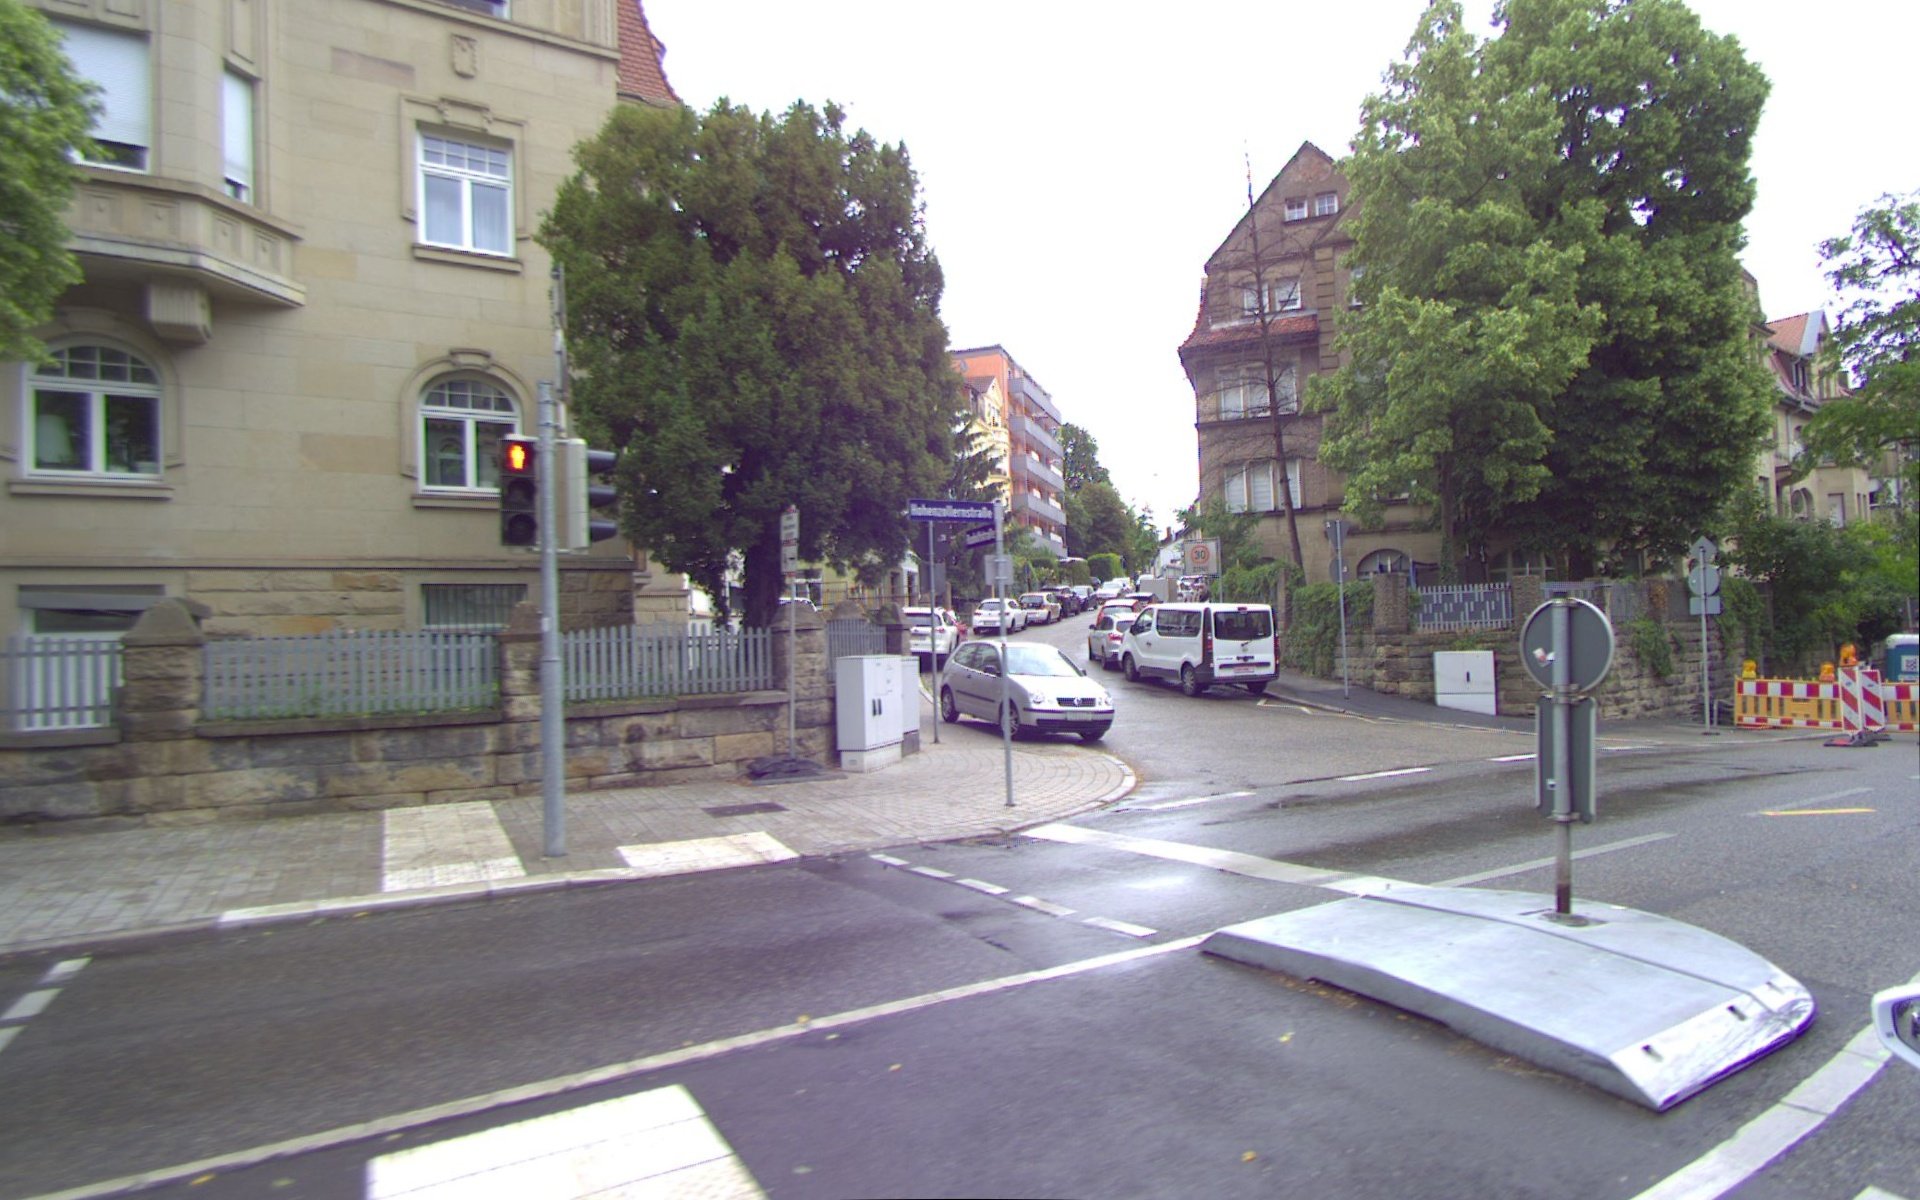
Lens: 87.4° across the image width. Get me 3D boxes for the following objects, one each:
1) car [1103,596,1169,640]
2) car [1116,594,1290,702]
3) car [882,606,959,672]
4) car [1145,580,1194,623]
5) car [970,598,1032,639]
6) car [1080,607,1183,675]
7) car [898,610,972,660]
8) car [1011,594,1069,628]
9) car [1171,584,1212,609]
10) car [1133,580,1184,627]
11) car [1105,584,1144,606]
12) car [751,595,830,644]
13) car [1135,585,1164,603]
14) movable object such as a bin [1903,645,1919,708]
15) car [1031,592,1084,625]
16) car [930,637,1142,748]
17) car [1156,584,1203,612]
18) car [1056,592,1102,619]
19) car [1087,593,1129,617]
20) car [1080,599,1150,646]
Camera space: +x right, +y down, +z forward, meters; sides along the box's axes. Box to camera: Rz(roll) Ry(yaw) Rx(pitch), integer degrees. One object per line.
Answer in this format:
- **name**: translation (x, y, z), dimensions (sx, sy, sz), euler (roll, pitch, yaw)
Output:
- **car**: translation (7.500, 0.739, 42.559), dimensions (2.071, 1.649, 4.444), euler (3, 0, 18)
- **car**: translation (5.527, 0.996, 23.566), dimensions (1.991, 2.076, 4.662), euler (0, 3, -15)
- **car**: translation (-1.072, 1.103, 29.439), dimensions (1.882, 1.697, 4.159), euler (3, -1, 2)
- **car**: translation (10.845, 0.090, 51.800), dimensions (1.884, 2.038, 4.444), euler (3, 0, 18)
- **car**: translation (1.851, 0.770, 43.729), dimensions (1.717, 1.527, 4.159), euler (3, 2, 16)
- **car**: translation (4.847, 1.113, 29.023), dimensions (2.072, 1.535, 4.440), euler (-1, 3, -2)
- **car**: translation (-0.781, 1.175, 34.368), dimensions (1.881, 1.494, 3.838), euler (3, -1, 7)
- **car**: translation (3.955, 0.517, 49.016), dimensions (1.813, 1.477, 4.158), euler (3, 2, 18)
- **car**: translation (14.803, -0.243, 64.026), dimensions (2.071, 1.427, 4.443), euler (3, 1, 18)
- **car**: translation (9.460, 0.152, 47.696), dimensions (1.760, 2.068, 3.937), euler (4, 1, 18)
- **car**: translation (12.243, -0.393, 74.521), dimensions (2.071, 1.428, 4.443), euler (3, 2, 18)
- **car**: translation (-5.791, 0.688, 34.745), dimensions (1.740, 1.494, 3.837), euler (3, -1, 4)
- **car**: translation (16.609, -0.533, 87.819), dimensions (1.924, 1.428, 4.461), euler (3, 1, 17)
- **movable object such as a bin**: translation (37.239, 2.876, 37.705), dimensions (2.785, 2.329, 1.983), euler (2, -5, -33)
- **car**: translation (5.295, 0.419, 54.017), dimensions (1.882, 1.531, 4.248), euler (3, 2, 18)
- **car**: translation (1.090, 1.430, 16.388), dimensions (1.801, 1.427, 3.852), euler (4, -1, -24)
- **car**: translation (12.522, -0.123, 57.162), dimensions (2.071, 1.428, 4.443), euler (3, 2, 18)
- **car**: translation (7.113, 0.307, 59.802), dimensions (1.882, 1.428, 3.990), euler (3, 1, 18)
- **car**: translation (10.151, 0.367, 68.689), dimensions (2.071, 1.427, 4.445), euler (3, -1, 18)
- **car**: translation (5.850, 0.799, 37.465), dimensions (1.993, 1.556, 4.445), euler (3, 0, 15)
